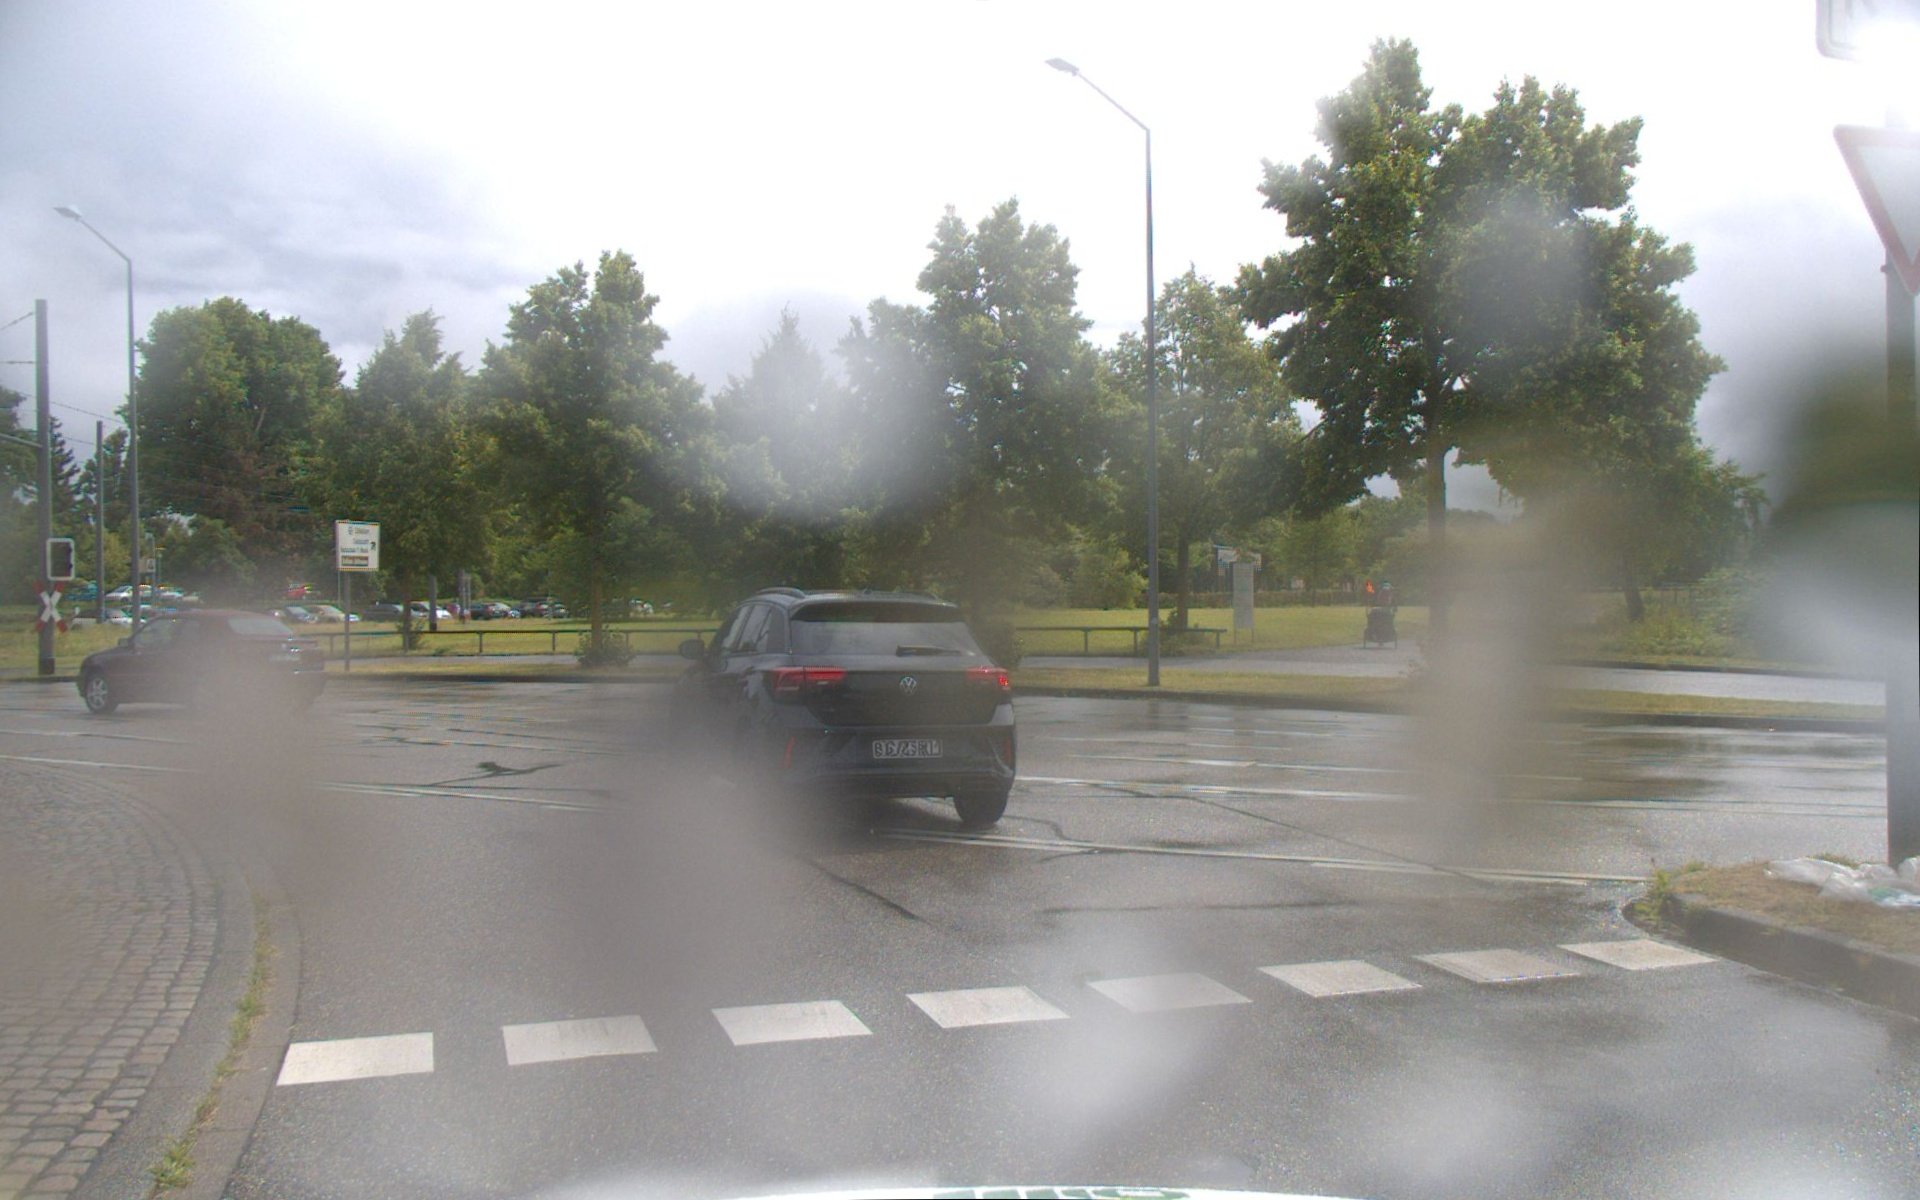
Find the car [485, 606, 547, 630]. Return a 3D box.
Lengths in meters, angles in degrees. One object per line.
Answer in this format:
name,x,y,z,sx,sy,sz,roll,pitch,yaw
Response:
car,-31.435,1.303,117.034,3.884,1.587,1.850,-1,0,21

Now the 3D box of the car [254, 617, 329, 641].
car,-39.274,1.710,97.203,3.884,1.331,1.850,-1,0,21

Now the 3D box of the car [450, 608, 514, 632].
car,-32.657,1.364,113.037,3.884,1.587,1.850,-1,0,21

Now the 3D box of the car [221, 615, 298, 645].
car,-40.066,1.719,94.584,3.884,1.587,1.850,-1,0,21

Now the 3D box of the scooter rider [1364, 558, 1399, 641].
scooter rider,10.528,0.008,41.274,0.690,2.049,0.769,-1,-2,28

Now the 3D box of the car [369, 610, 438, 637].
car,-35.703,1.510,106.058,3.884,1.587,1.850,-1,0,21

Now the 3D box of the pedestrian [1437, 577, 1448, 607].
pedestrian,29.396,-0.476,100.738,0.585,1.762,0.605,0,-2,24

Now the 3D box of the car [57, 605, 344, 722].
car,-10.765,0.838,23.407,3.912,1.488,1.717,0,1,30

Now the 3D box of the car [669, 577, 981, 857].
car,-1.120,0.684,11.870,1.863,1.646,3.991,0,0,-10

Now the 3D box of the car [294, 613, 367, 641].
car,-37.912,1.617,99.647,3.884,1.587,1.850,-1,0,21

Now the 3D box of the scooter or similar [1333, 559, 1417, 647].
scooter or similar,10.160,0.106,40.337,1.212,2.049,3.404,-1,-2,28
